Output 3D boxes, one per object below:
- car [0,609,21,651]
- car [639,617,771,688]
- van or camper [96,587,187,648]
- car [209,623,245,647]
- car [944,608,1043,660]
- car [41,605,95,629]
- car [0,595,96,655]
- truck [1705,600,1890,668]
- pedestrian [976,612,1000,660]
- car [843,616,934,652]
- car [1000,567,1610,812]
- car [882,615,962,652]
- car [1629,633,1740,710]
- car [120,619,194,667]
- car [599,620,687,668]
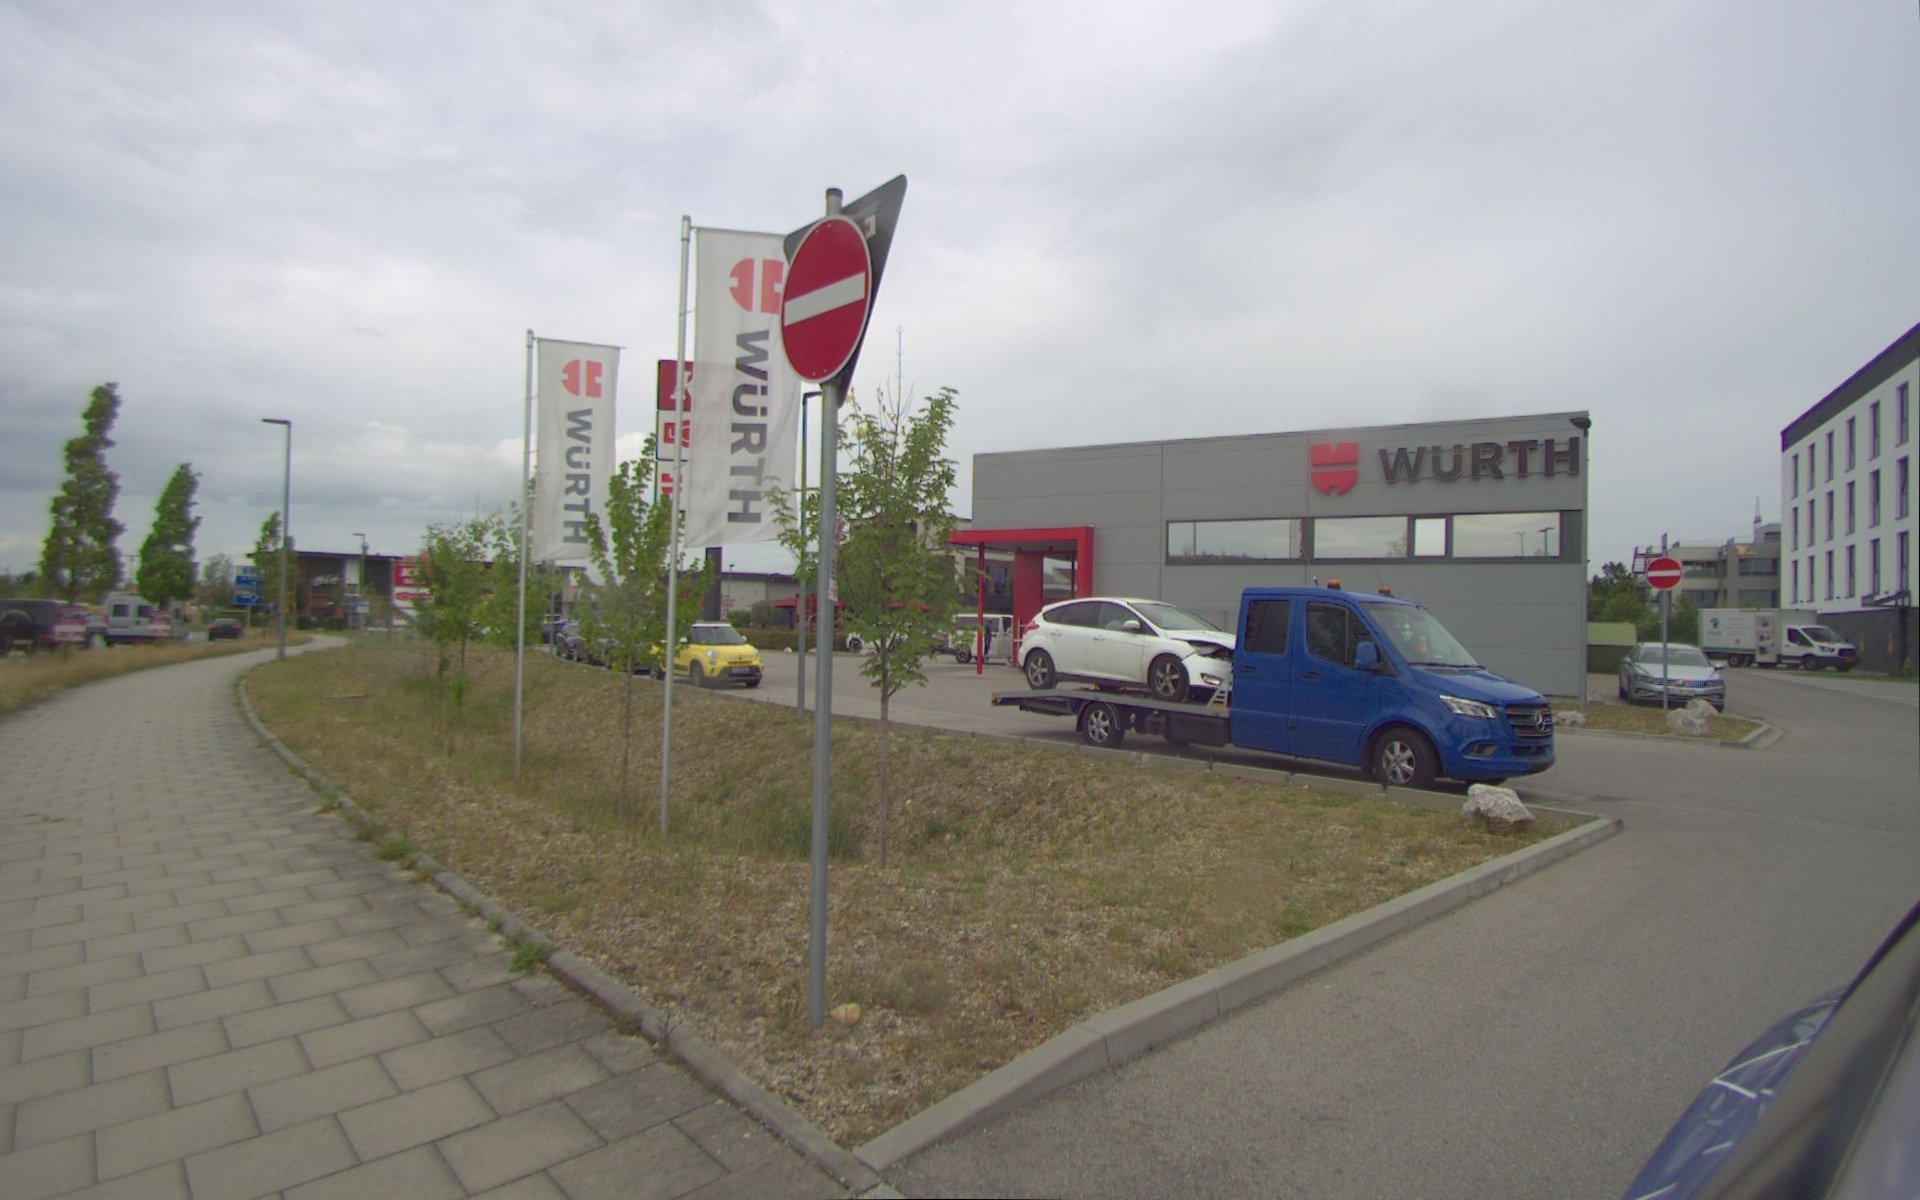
[{"bbox_3d":[-37.841,1.143,38.841,1.872,1.588,4.337,2,-1,-33],"label":"car"},{"bbox_3d":[-6.858,1.322,26.945,1.721,1.705,4.293,1,-1,-39],"label":"car"},{"bbox_3d":[-37.168,0.819,46.138,2.152,2.574,6.171,2,-2,-29],"label":"van or camper"},{"bbox_3d":[-46.056,2.200,63.634,1.465,1.403,3.344,1,-1,-29],"label":"car"},{"bbox_3d":[1.325,1.327,40.512,3.647,2.005,1.657,0,-1,32],"label":"car"},{"bbox_3d":[-54.113,1.025,61.466,1.739,1.402,4.152,1,-1,-31],"label":"car"},{"bbox_3d":[-31.785,0.862,35.056,1.960,1.948,4.851,2,-2,-30],"label":"car"},{"bbox_3d":[40.321,1.549,49.111,2.387,3.055,7.079,0,-1,-9],"label":"truck"},{"bbox_3d":[1.071,1.375,39.266,0.654,1.831,0.642,1,-1,33],"label":"pedestrian"},{"bbox_3d":[-3.791,1.762,53.352,4.707,1.771,1.737,0,-2,33],"label":"car"},{"bbox_3d":[3.868,0.862,13.509,2.160,2.352,7.852,2,-1,-37],"label":"car"},{"bbox_3d":[-2.086,1.814,55.633,3.971,1.883,1.976,1,-1,33],"label":"car"},{"bbox_3d":[17.484,1.633,24.392,1.970,1.510,4.706,3,0,37],"label":"car"},{"bbox_3d":[-30.466,1.603,38.488,1.651,1.698,3.509,1,-1,-30],"label":"car"},{"bbox_3d":[-10.205,1.356,32.414,1.709,1.379,4.002,1,-1,-32],"label":"car"}]
